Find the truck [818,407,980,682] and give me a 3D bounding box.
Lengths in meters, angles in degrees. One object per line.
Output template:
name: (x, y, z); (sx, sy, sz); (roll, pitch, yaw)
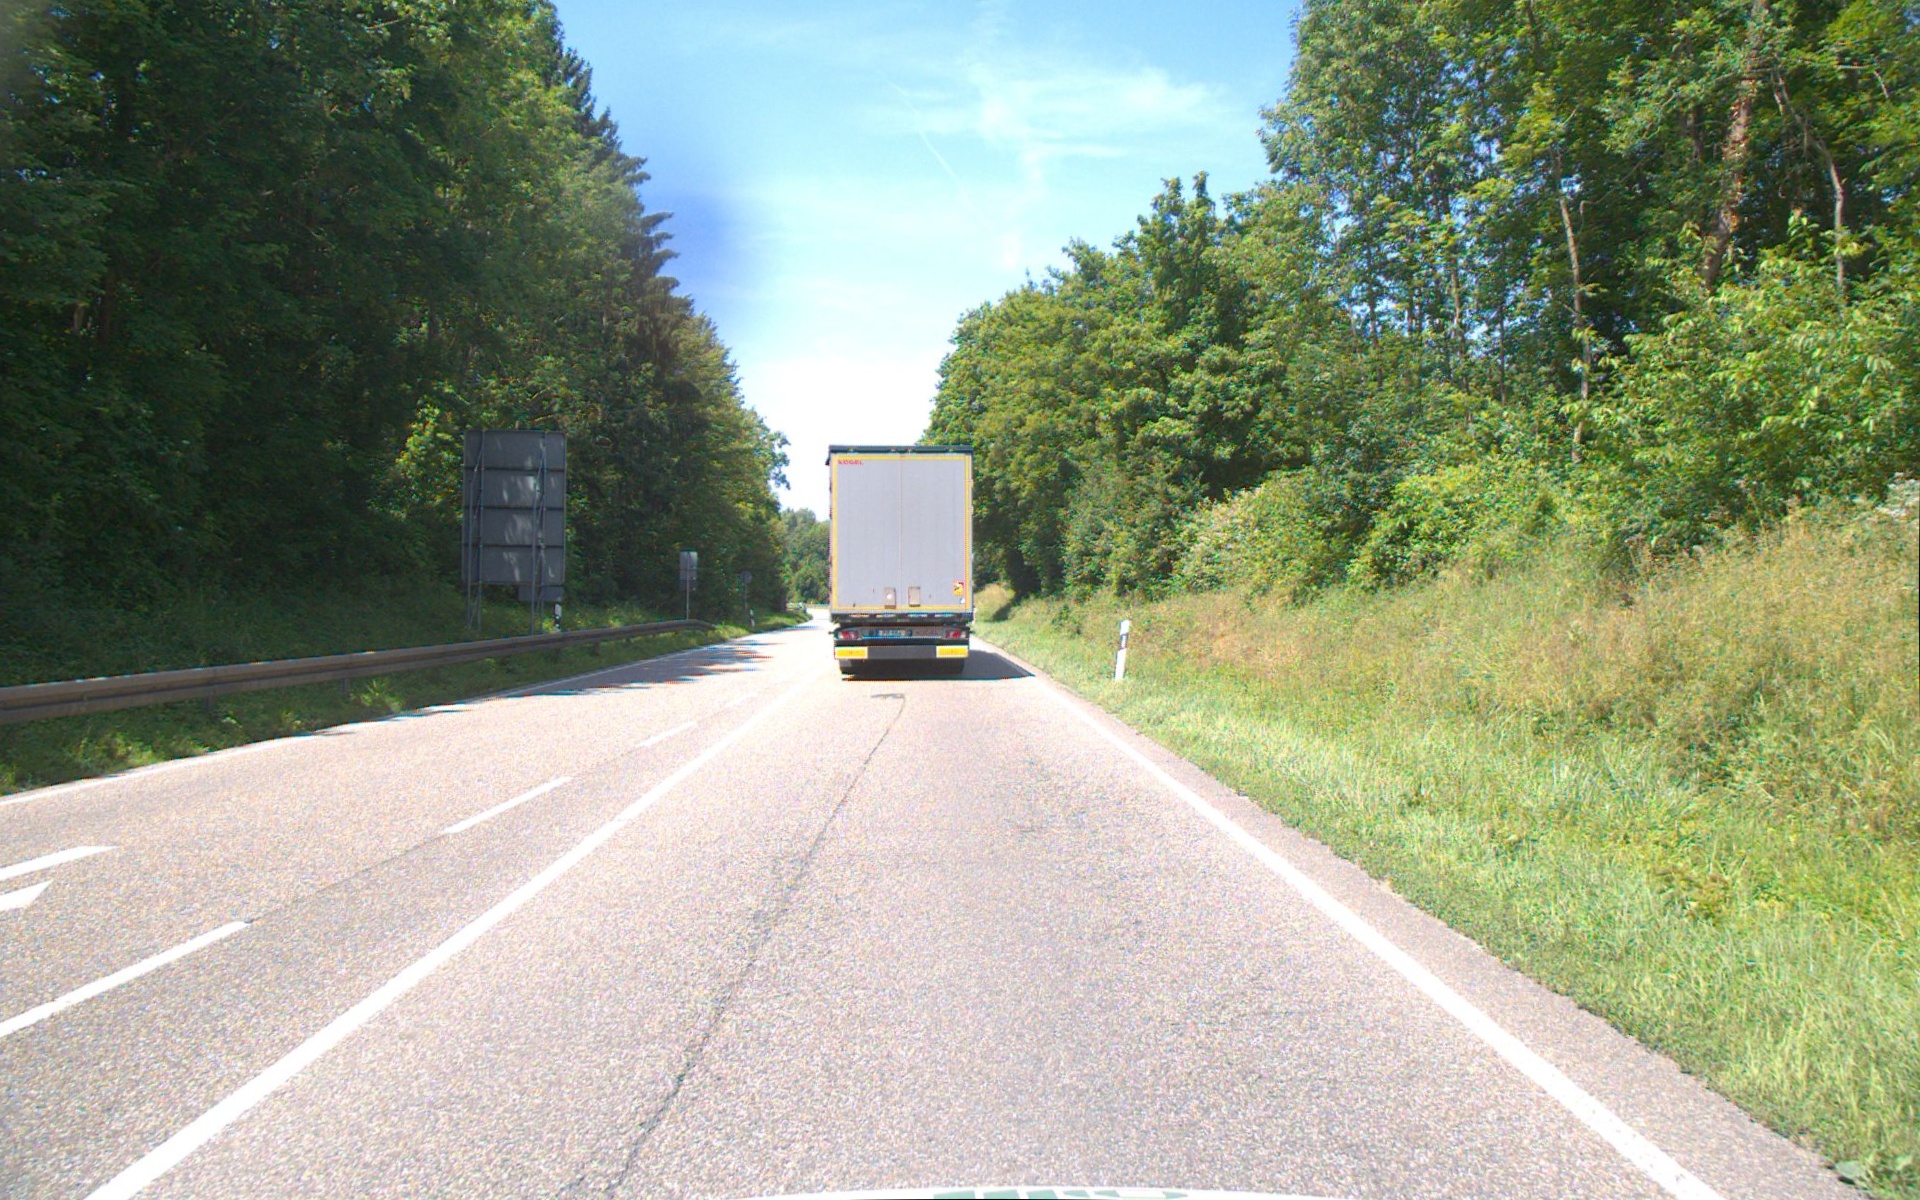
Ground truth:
truck: (-1.094, -1.018, 31.572); (2.765, 4.684, 6.664); (0, 1, -1)
